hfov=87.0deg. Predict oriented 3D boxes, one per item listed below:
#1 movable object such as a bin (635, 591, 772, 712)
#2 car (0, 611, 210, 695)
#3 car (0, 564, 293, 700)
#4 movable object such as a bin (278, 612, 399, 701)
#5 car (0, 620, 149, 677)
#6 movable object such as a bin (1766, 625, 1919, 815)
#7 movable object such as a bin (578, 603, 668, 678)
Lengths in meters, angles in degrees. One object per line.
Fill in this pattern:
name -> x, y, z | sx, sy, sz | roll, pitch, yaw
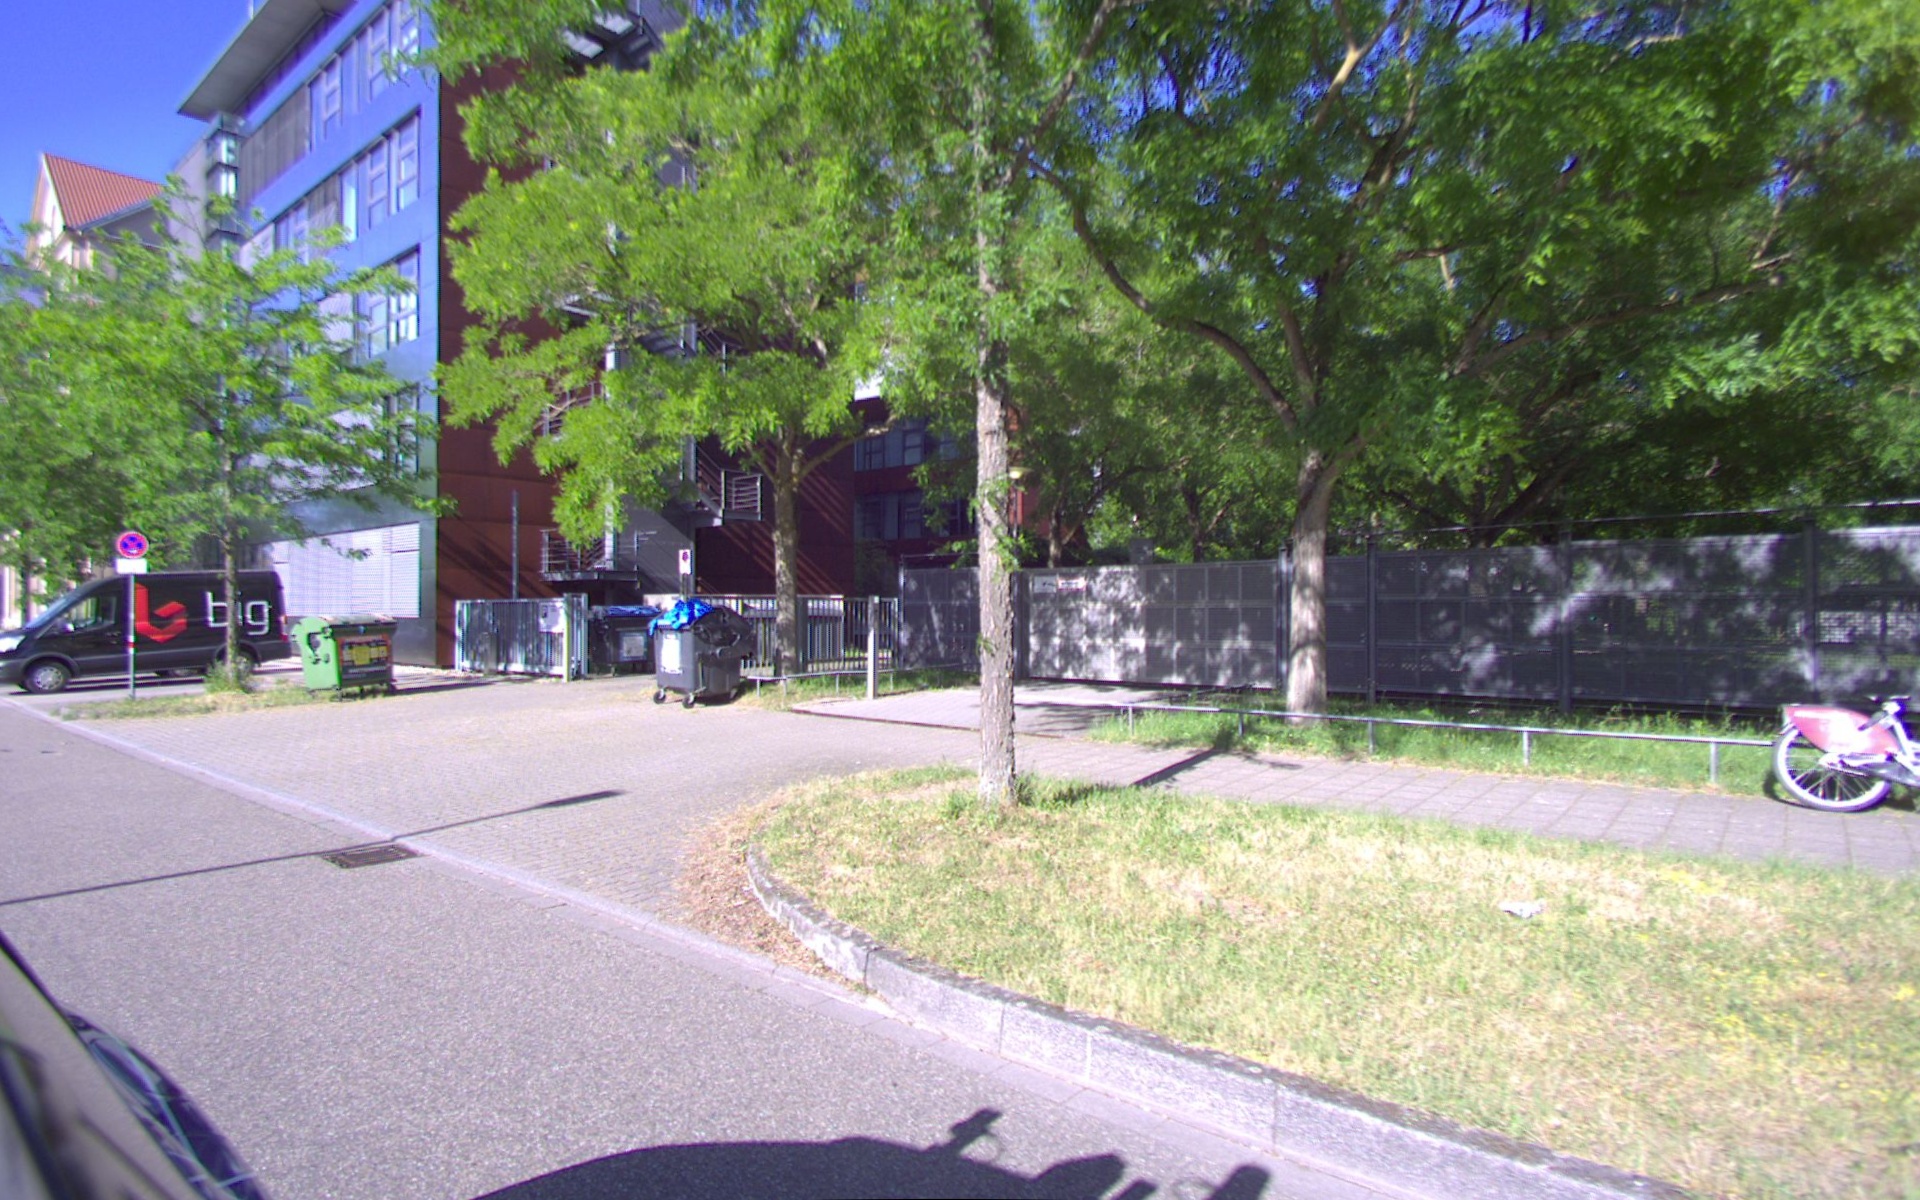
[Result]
movable object such as a bin -> -3.920, 0.730, 15.480 | 1.523, 1.608, 1.398 | 2, 5, 44
car -> -20.349, 1.158, 23.936 | 1.890, 1.657, 3.794 | -1, 2, 38
car -> -18.256, 0.577, 22.391 | 2.230, 2.642, 5.400 | 0, 2, 40
movable object such as a bin -> -10.508, 0.923, 17.142 | 1.219, 1.424, 1.288 | -1, -1, 23
car -> -25.868, 1.366, 28.463 | 1.891, 1.360, 4.490 | 0, 2, 40
movable object such as a bin -> 6.414, 0.757, 6.471 | 1.934, 1.190, 0.656 | -1, -1, 41
movable object such as a bin -> -7.020, 0.818, 21.118 | 1.011, 1.497, 1.465 | 0, -1, 41
